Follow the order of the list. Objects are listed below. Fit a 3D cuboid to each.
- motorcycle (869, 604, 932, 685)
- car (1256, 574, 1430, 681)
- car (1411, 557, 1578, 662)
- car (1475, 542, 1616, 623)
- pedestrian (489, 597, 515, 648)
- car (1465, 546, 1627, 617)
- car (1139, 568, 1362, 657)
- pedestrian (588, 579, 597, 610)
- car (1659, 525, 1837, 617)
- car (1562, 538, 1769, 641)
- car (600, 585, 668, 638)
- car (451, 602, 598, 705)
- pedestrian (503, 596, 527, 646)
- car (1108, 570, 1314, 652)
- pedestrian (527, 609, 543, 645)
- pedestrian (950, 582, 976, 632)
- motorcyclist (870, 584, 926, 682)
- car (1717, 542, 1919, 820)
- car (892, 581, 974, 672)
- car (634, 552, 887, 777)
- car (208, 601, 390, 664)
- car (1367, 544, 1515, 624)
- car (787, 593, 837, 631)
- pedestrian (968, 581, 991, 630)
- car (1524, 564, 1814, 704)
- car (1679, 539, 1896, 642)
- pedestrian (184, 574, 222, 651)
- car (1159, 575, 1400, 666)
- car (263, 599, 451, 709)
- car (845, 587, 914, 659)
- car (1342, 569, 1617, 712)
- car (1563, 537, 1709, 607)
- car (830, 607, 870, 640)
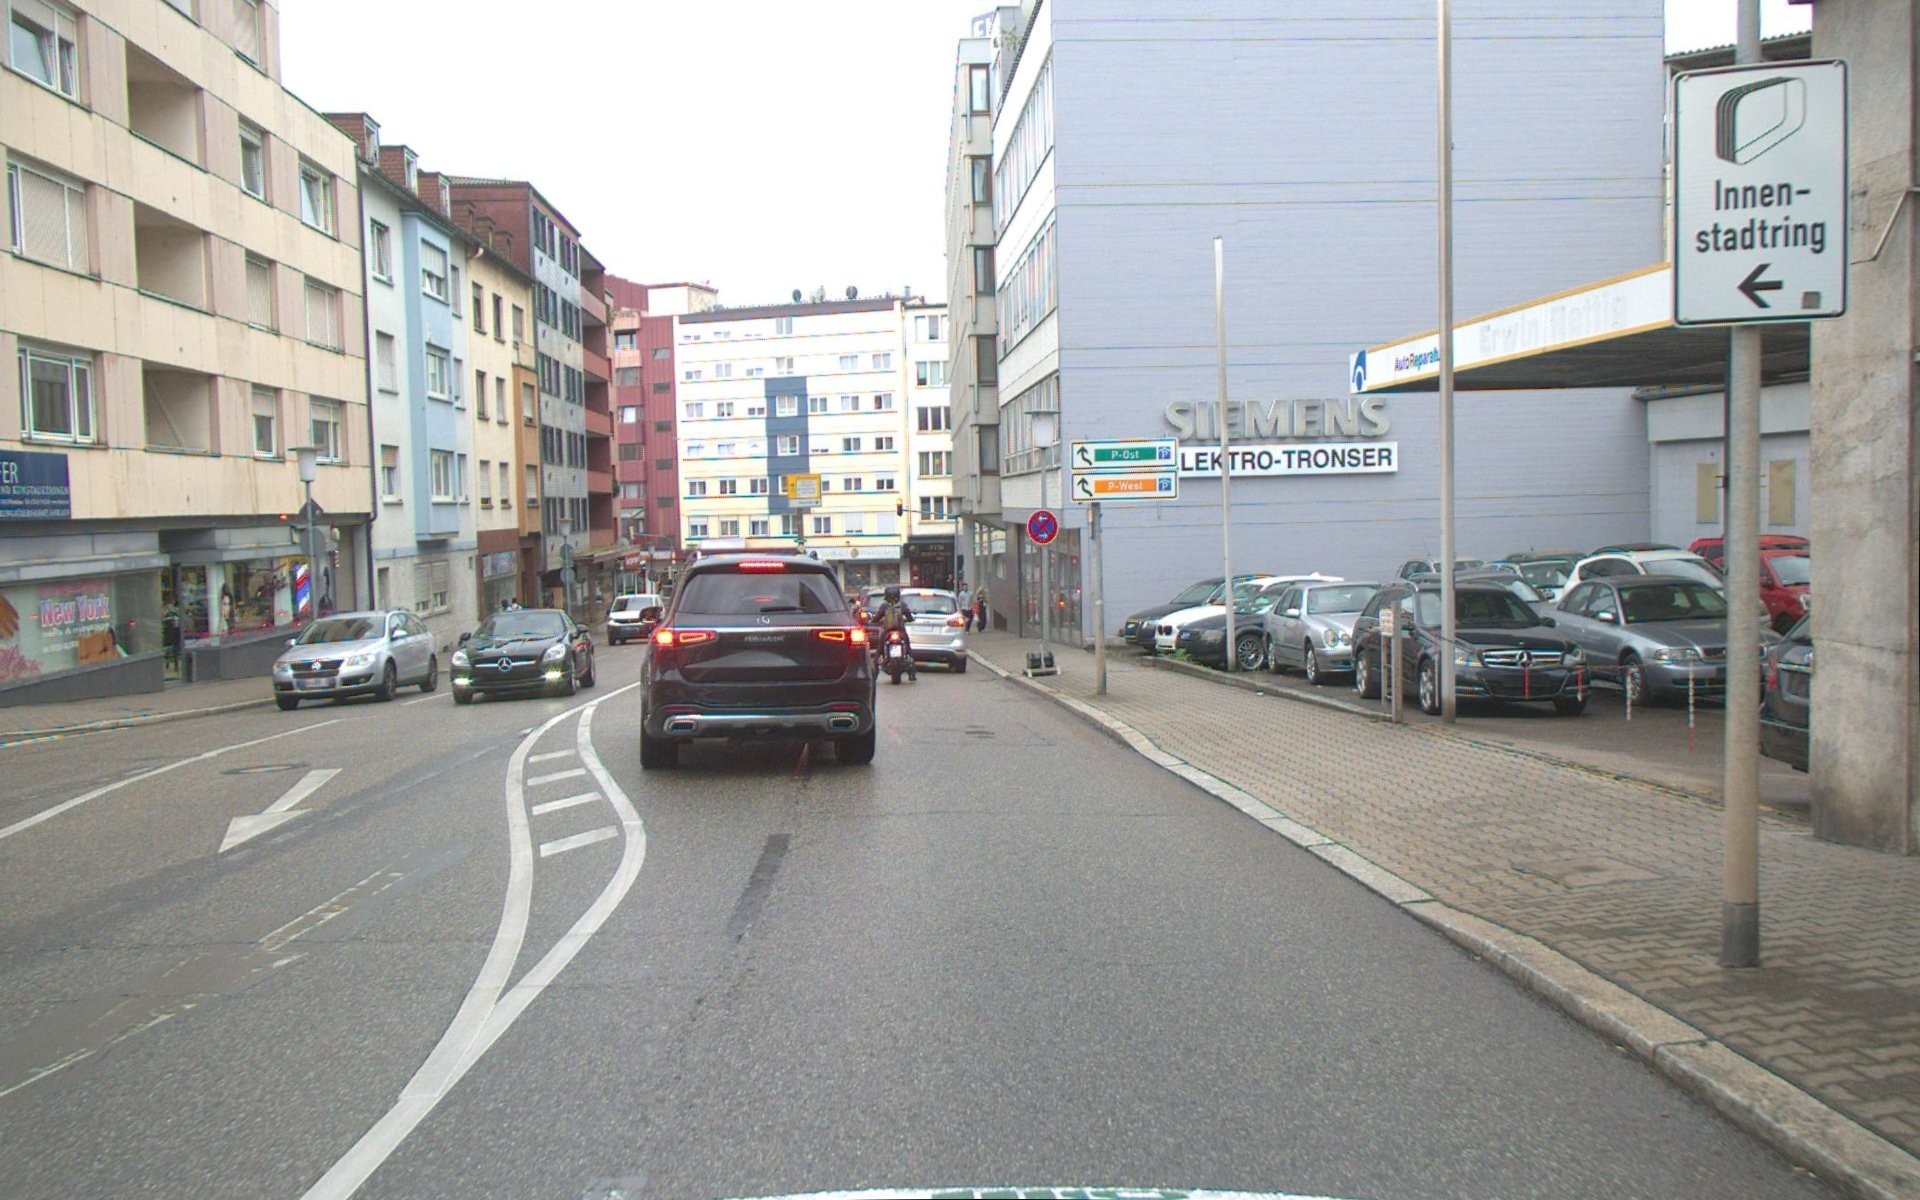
[{"bbox_3d":[-1.009,0.704,27.427,0.850,1.207,2.559,-1,1,-6],"label":"motorcycle"},{"bbox_3d":[5.747,0.366,25.282,1.534,1.503,4.067,0,0,-3],"label":"car"},{"bbox_3d":[8.330,0.163,26.042,1.496,1.539,3.391,0,-1,-1],"label":"car"},{"bbox_3d":[12.435,-0.336,35.326,1.423,1.625,3.385,0,-1,-8],"label":"car"},{"bbox_3d":[-15.711,0.772,56.703,0.725,1.680,0.605,-1,4,-6],"label":"pedestrian"},{"bbox_3d":[10.774,-0.300,30.604,1.423,1.223,3.385,0,-1,-8],"label":"car"},{"bbox_3d":[5.601,0.248,31.940,3.931,1.625,1.787,0,-1,-22],"label":"car"},{"bbox_3d":[-17.751,-0.260,79.873,0.311,1.499,0.339,-1,4,1],"label":"pedestrian"},{"bbox_3d":[14.876,-0.508,31.404,1.423,1.625,3.385,0,-1,-8],"label":"car"},{"bbox_3d":[11.217,-0.125,26.549,1.522,1.539,3.515,0,-1,-6],"label":"car"},{"bbox_3d":[-12.028,0.375,61.301,1.833,1.783,4.395,-4,1,-4],"label":"car"},{"bbox_3d":[-6.591,0.753,25.419,1.682,1.340,4.136,-2,1,-8],"label":"car"},{"bbox_3d":[-15.459,0.728,57.508,0.658,1.680,0.605,-1,4,-6],"label":"pedestrian"},{"bbox_3d":[5.233,0.236,34.504,3.931,1.625,1.787,0,-1,-22],"label":"car"},{"bbox_3d":[-14.828,0.942,57.752,0.417,1.182,0.586,-1,4,-6],"label":"pedestrian"},{"bbox_3d":[0.100,0.222,55.944,0.754,1.639,0.703,-1,2,-6],"label":"pedestrian"},{"bbox_3d":[-1.032,0.543,27.472,0.850,1.587,0.762,-1,-1,-6],"label":"motorcyclist"},{"bbox_3d":[7.261,0.498,10.089,4.397,1.539,1.887,2,0,1],"label":"car"},{"bbox_3d":[-0.572,0.483,32.784,1.388,1.679,3.104,-1,1,-5],"label":"car"},{"bbox_3d":[-1.792,0.502,15.493,1.981,1.770,4.742,1,0,-5],"label":"car"},{"bbox_3d":[-16.669,0.811,41.873,3.909,1.525,1.797,-1,-1,-6],"label":"car"},{"bbox_3d":[10.226,-0.294,35.448,1.613,1.625,3.859,0,-1,-8],"label":"car"},{"bbox_3d":[-6.215,0.483,69.730,1.847,1.529,4.397,0,0,-2],"label":"car"},{"bbox_3d":[0.658,0.176,56.746,0.703,1.639,0.610,-1,2,-6],"label":"pedestrian"},{"bbox_3d":[8.486,0.353,20.262,1.759,1.503,4.486,-1,0,2],"label":"car"},{"bbox_3d":[13.166,-0.118,26.537,1.422,1.539,3.515,0,-1,-6],"label":"car"},{"bbox_3d":[-17.772,0.293,38.837,0.588,1.759,0.571,-1,4,-6],"label":"pedestrian"},{"bbox_3d":[5.679,0.366,29.408,3.931,1.521,1.721,0,-1,-22],"label":"car"},{"bbox_3d":[-9.908,0.842,27.545,1.711,1.565,4.638,-4,0,-5],"label":"car"},{"bbox_3d":[-1.945,0.517,39.313,1.493,1.575,3.104,-1,1,-5],"label":"car"},{"bbox_3d":[5.981,0.407,19.645,1.760,1.503,4.484,0,0,-2],"label":"car"},{"bbox_3d":[14.523,-0.567,35.707,1.424,1.377,3.347,0,-1,-8],"label":"car"},{"bbox_3d":[-5.443,1.120,82.005,1.847,1.529,4.397,0,0,-2],"label":"car"}]
